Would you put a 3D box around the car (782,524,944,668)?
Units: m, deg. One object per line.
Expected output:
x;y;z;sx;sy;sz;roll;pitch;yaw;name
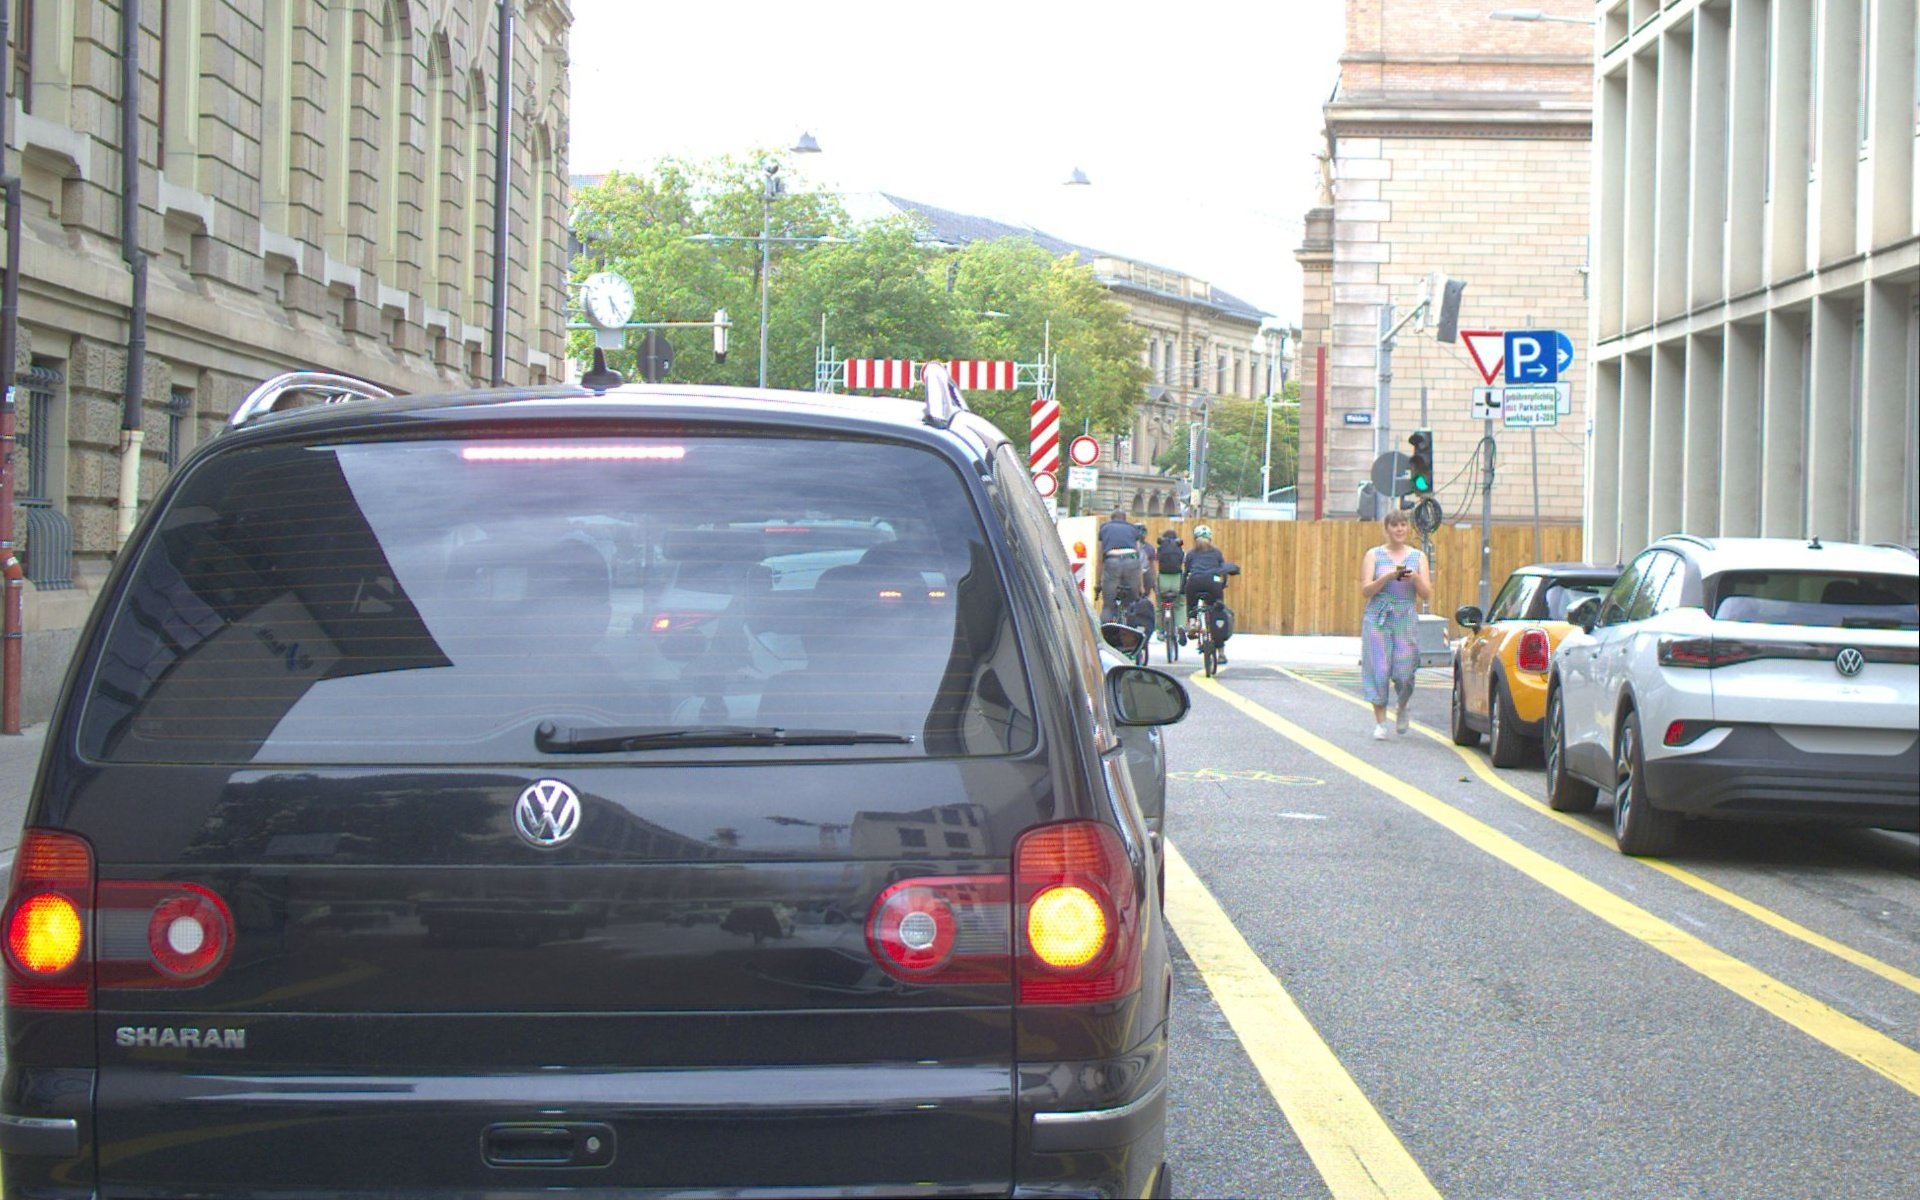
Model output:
-1.105;-0.065;40.276;1.773;1.580;4.000;1;1;-1;car

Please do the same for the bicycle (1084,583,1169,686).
1.692;0.336;35.240;0.735;1.005;2.069;1;1;-1;bicycle

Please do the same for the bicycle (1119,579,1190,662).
2.433;0.248;43.172;0.735;1.005;2.069;1;1;-1;bicycle

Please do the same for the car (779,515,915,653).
-1.594;-0.237;47.278;1.734;1.784;4.104;1;1;-3;car

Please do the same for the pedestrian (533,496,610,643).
-4.941;-0.388;43.803;0.792;1.813;1.048;3;0;-1;pedestrian

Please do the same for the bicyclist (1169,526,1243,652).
2.722;-0.128;38.136;0.735;1.371;0.832;1;0;-1;bicyclist

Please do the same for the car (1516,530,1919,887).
4.261;0.506;18.531;1.860;1.599;4.512;4;1;2;car

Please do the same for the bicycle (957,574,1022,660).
0.348;0.197;41.806;0.735;1.005;2.069;1;1;-1;bicycle

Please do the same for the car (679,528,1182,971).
-0.022;0.485;13.735;1.678;1.464;4.103;1;1;2;car

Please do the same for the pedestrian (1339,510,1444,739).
3.363;0.184;26.820;0.703;1.757;0.700;1;0;-1;pedestrian

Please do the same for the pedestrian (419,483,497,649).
-5.652;-0.380;38.748;0.664;1.813;1.048;3;0;-1;pedestrian

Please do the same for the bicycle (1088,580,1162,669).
1.935;0.275;40.462;0.735;1.005;2.069;1;1;-1;bicycle

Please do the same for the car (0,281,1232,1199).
-0.475;0.462;6.624;1.790;1.784;4.103;1;1;2;car

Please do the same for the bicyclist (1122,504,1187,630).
2.443;-0.417;43.264;0.735;1.550;0.895;1;0;-1;bicyclist

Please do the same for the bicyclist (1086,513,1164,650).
1.683;-0.193;35.236;0.735;1.372;0.829;1;0;-1;bicyclist

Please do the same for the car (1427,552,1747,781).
4.495;0.428;25.153;1.680;1.430;3.886;4;1;2;car

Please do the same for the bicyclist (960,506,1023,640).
0.377;-0.328;41.735;0.735;1.606;0.695;1;0;-1;bicyclist

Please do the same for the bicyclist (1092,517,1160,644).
1.950;-0.229;40.474;0.735;1.465;0.809;1;0;-1;bicyclist

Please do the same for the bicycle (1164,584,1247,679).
2.712;0.332;38.157;0.735;1.005;2.069;1;1;-1;bicycle

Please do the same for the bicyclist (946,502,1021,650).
0.234;-0.246;34.946;0.735;1.473;0.884;1;0;-1;bicyclist
